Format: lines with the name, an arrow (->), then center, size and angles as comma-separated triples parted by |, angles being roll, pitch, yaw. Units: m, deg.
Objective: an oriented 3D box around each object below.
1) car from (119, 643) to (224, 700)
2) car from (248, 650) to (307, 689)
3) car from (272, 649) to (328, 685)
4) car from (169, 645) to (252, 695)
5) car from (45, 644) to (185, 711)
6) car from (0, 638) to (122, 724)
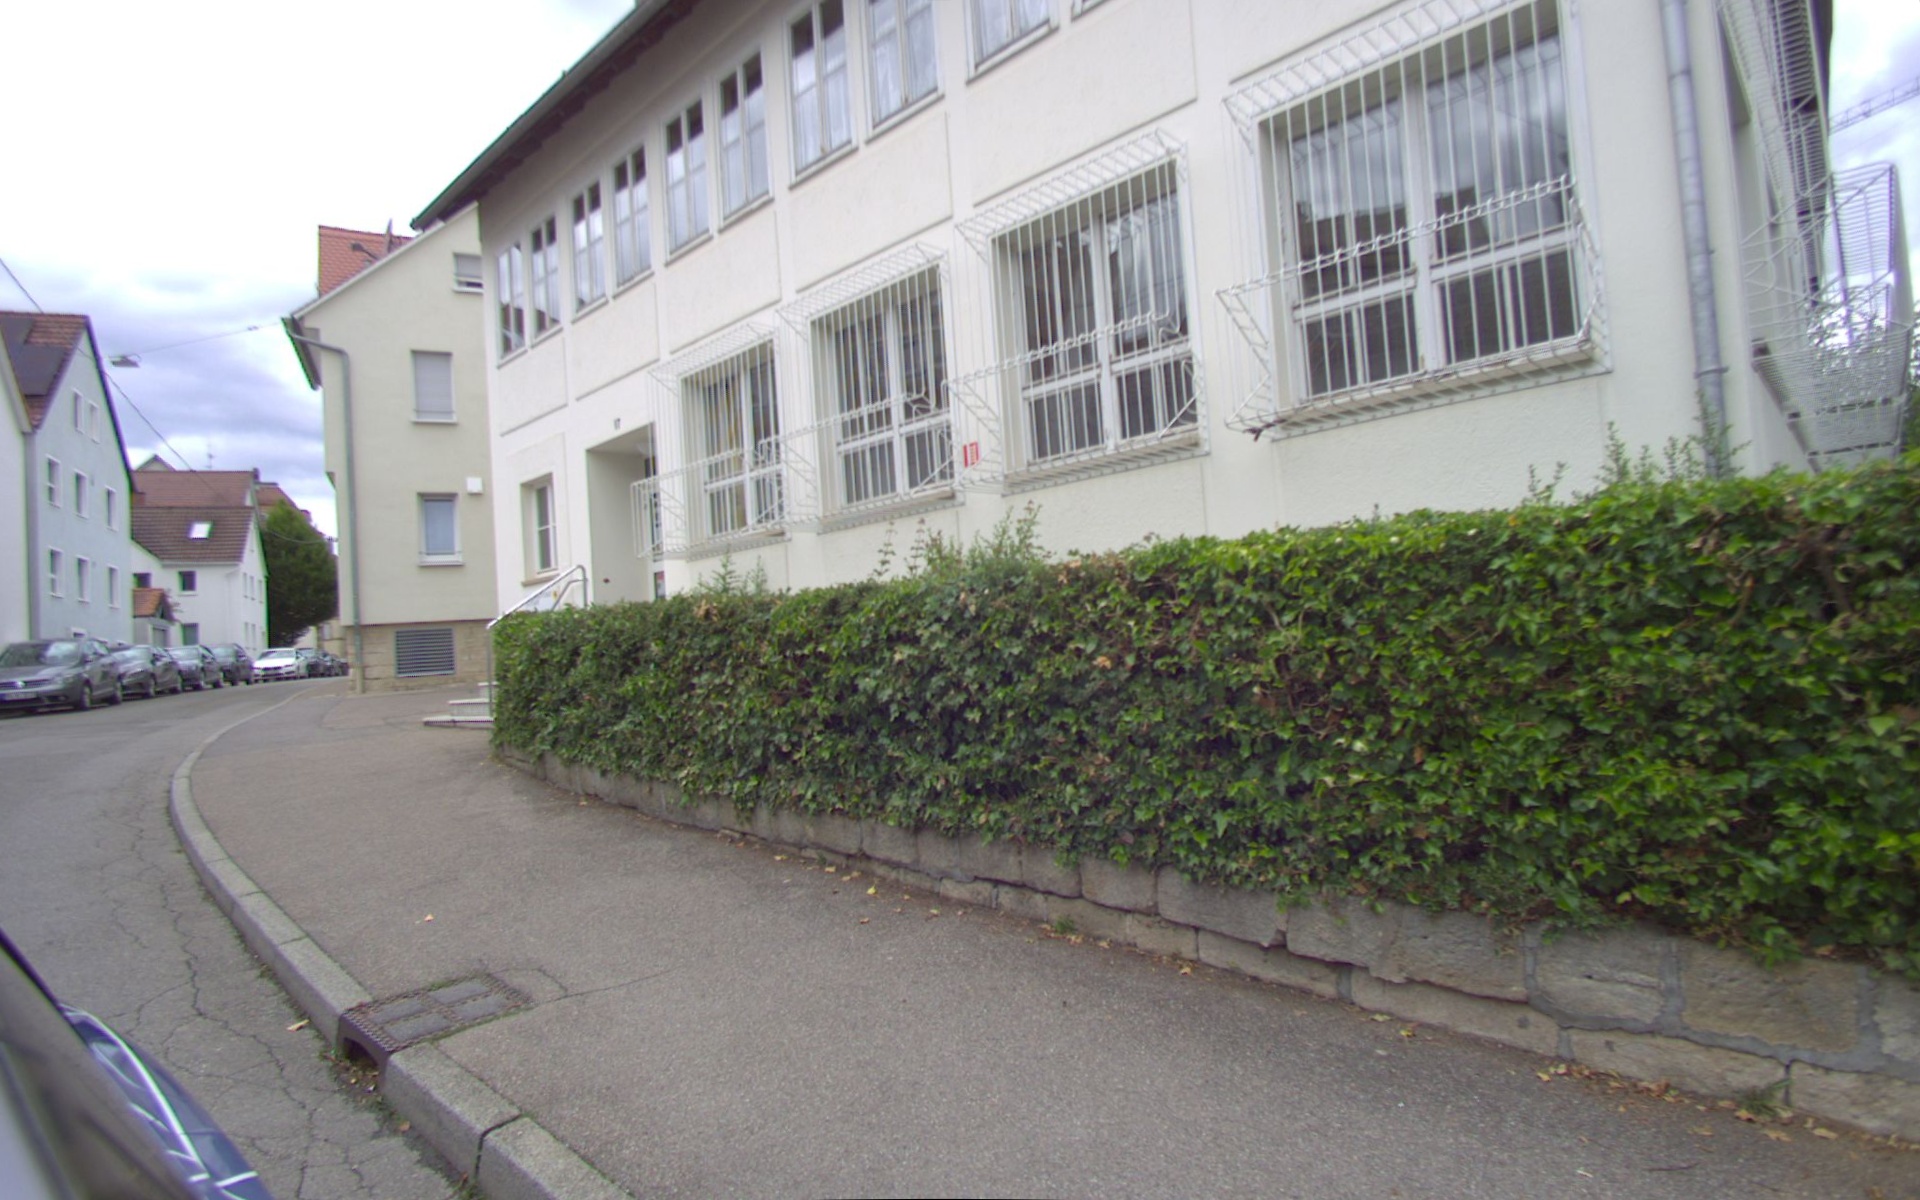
car -> -23.865, 2.157, 30.784 | 1.701, 1.453, 4.278 | -4, -1, -28
car -> -31.733, 3.217, 47.135 | 1.742, 1.574, 4.053 | -4, -2, -27
car -> -34.119, 3.447, 52.416 | 1.741, 1.632, 4.296 | -4, -2, -25
car -> -25.940, 2.423, 35.160 | 1.616, 1.523, 3.853 | -3, -2, -27
car -> -21.691, 1.932, 26.163 | 1.783, 1.453, 3.971 | -4, 0, -26
car -> -19.292, 1.671, 21.351 | 1.711, 1.575, 3.920 | -4, 0, -29
